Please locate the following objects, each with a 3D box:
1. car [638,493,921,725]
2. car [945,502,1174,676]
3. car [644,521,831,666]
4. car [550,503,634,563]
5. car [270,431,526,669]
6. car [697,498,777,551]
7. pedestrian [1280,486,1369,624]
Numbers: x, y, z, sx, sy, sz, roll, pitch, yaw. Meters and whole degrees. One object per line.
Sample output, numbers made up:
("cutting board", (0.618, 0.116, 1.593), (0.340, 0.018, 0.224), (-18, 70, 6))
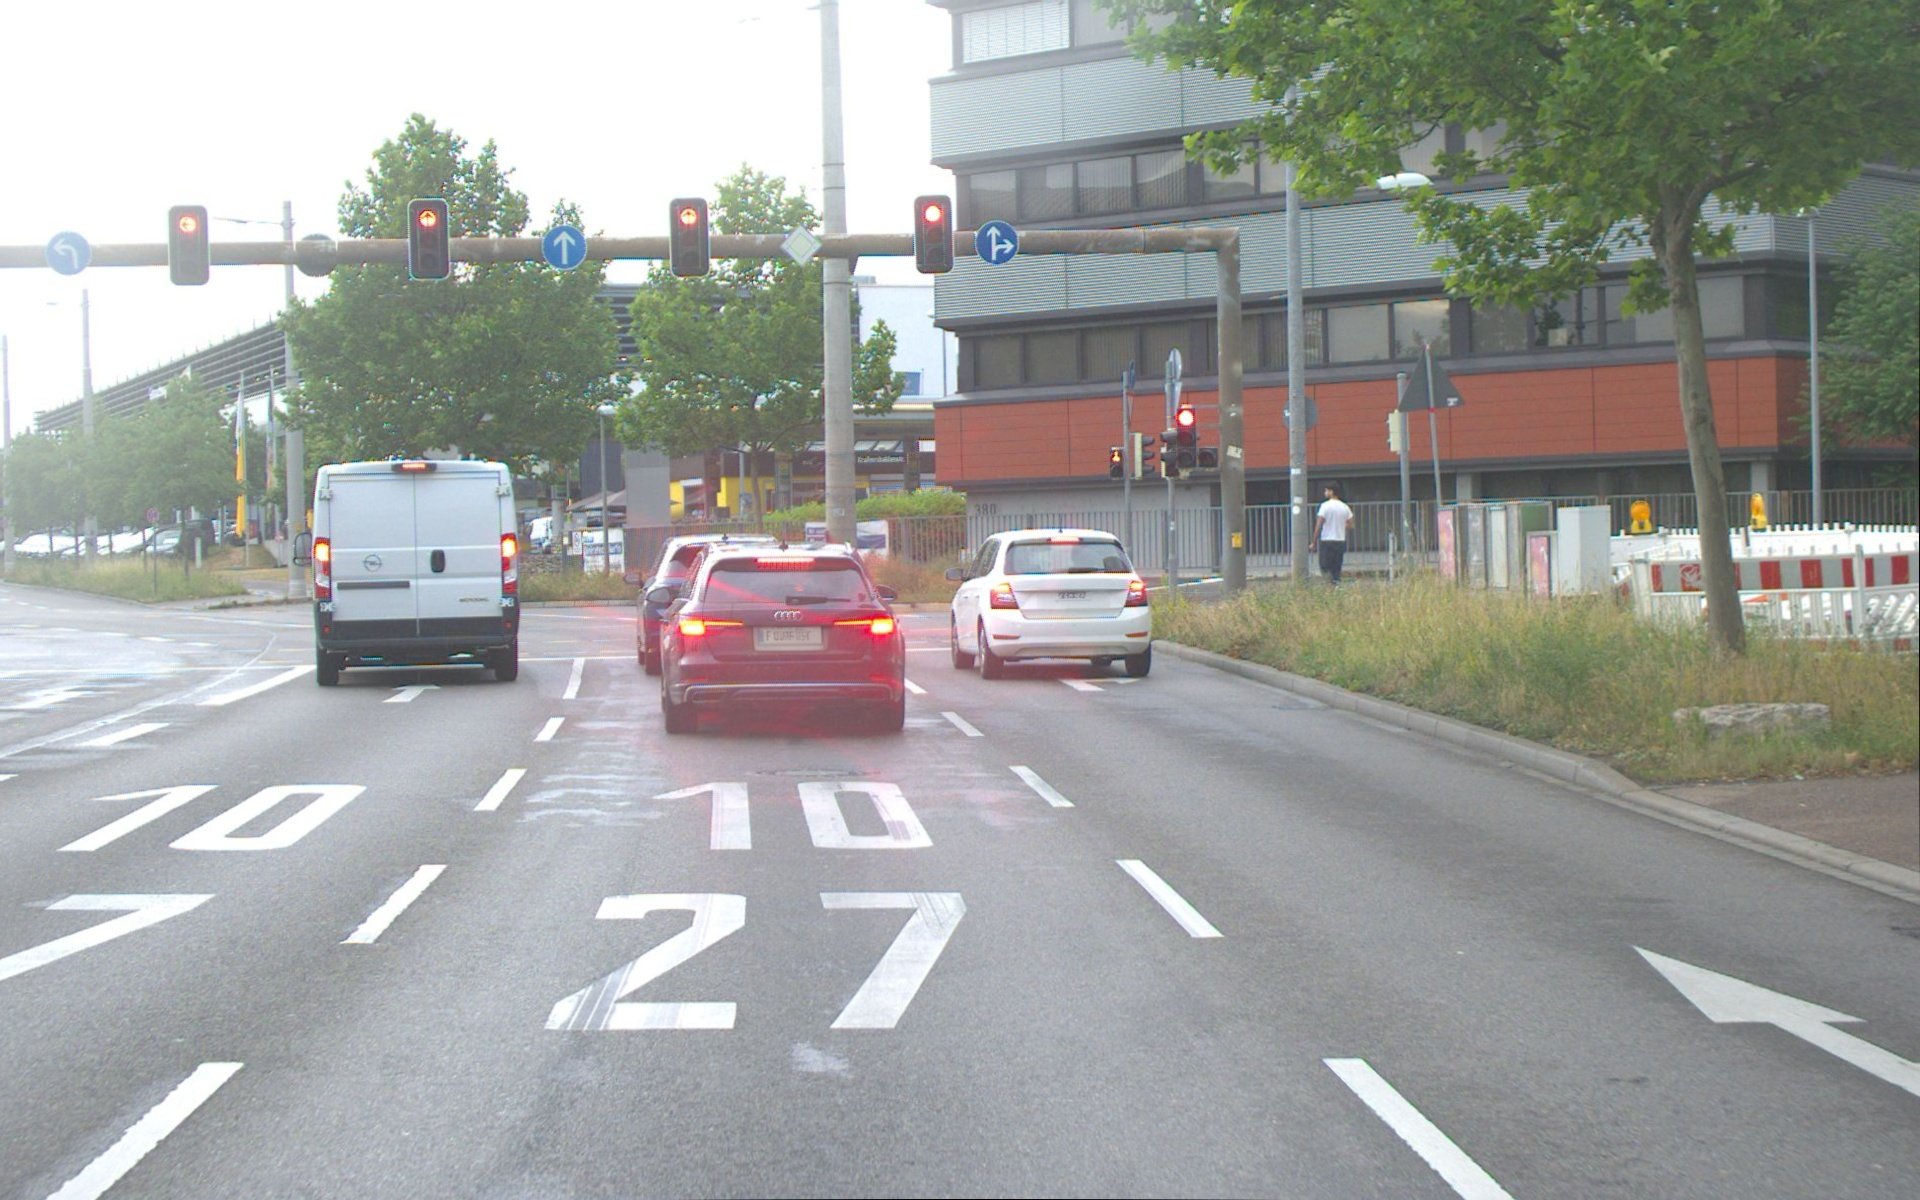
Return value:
("car", (-1.426, 0.062, 26.596), (1.993, 1.632, 4.000), (1, 0, -4))
("car", (0.943, -0.114, 34.839), (1.828, 1.650, 4.001), (0, 0, -5))
("car", (-2.364, -0.074, 37.231), (1.894, 1.460, 3.909), (-1, 0, -2))
("car", (-13.109, -2.364, 122.263), (1.993, 2.025, 4.001), (-2, 1, -20))
("car", (-5.929, -0.492, 36.178), (2.444, 2.286, 4.906), (1, 0, -10))
("car", (-8.757, -2.947, 134.686), (1.870, 2.007, 3.775), (1, 0, -25))
("pedestrian", (5.782, -0.730, 54.613), (1.143, 2.118, 1.223), (-2, 3, -4))
